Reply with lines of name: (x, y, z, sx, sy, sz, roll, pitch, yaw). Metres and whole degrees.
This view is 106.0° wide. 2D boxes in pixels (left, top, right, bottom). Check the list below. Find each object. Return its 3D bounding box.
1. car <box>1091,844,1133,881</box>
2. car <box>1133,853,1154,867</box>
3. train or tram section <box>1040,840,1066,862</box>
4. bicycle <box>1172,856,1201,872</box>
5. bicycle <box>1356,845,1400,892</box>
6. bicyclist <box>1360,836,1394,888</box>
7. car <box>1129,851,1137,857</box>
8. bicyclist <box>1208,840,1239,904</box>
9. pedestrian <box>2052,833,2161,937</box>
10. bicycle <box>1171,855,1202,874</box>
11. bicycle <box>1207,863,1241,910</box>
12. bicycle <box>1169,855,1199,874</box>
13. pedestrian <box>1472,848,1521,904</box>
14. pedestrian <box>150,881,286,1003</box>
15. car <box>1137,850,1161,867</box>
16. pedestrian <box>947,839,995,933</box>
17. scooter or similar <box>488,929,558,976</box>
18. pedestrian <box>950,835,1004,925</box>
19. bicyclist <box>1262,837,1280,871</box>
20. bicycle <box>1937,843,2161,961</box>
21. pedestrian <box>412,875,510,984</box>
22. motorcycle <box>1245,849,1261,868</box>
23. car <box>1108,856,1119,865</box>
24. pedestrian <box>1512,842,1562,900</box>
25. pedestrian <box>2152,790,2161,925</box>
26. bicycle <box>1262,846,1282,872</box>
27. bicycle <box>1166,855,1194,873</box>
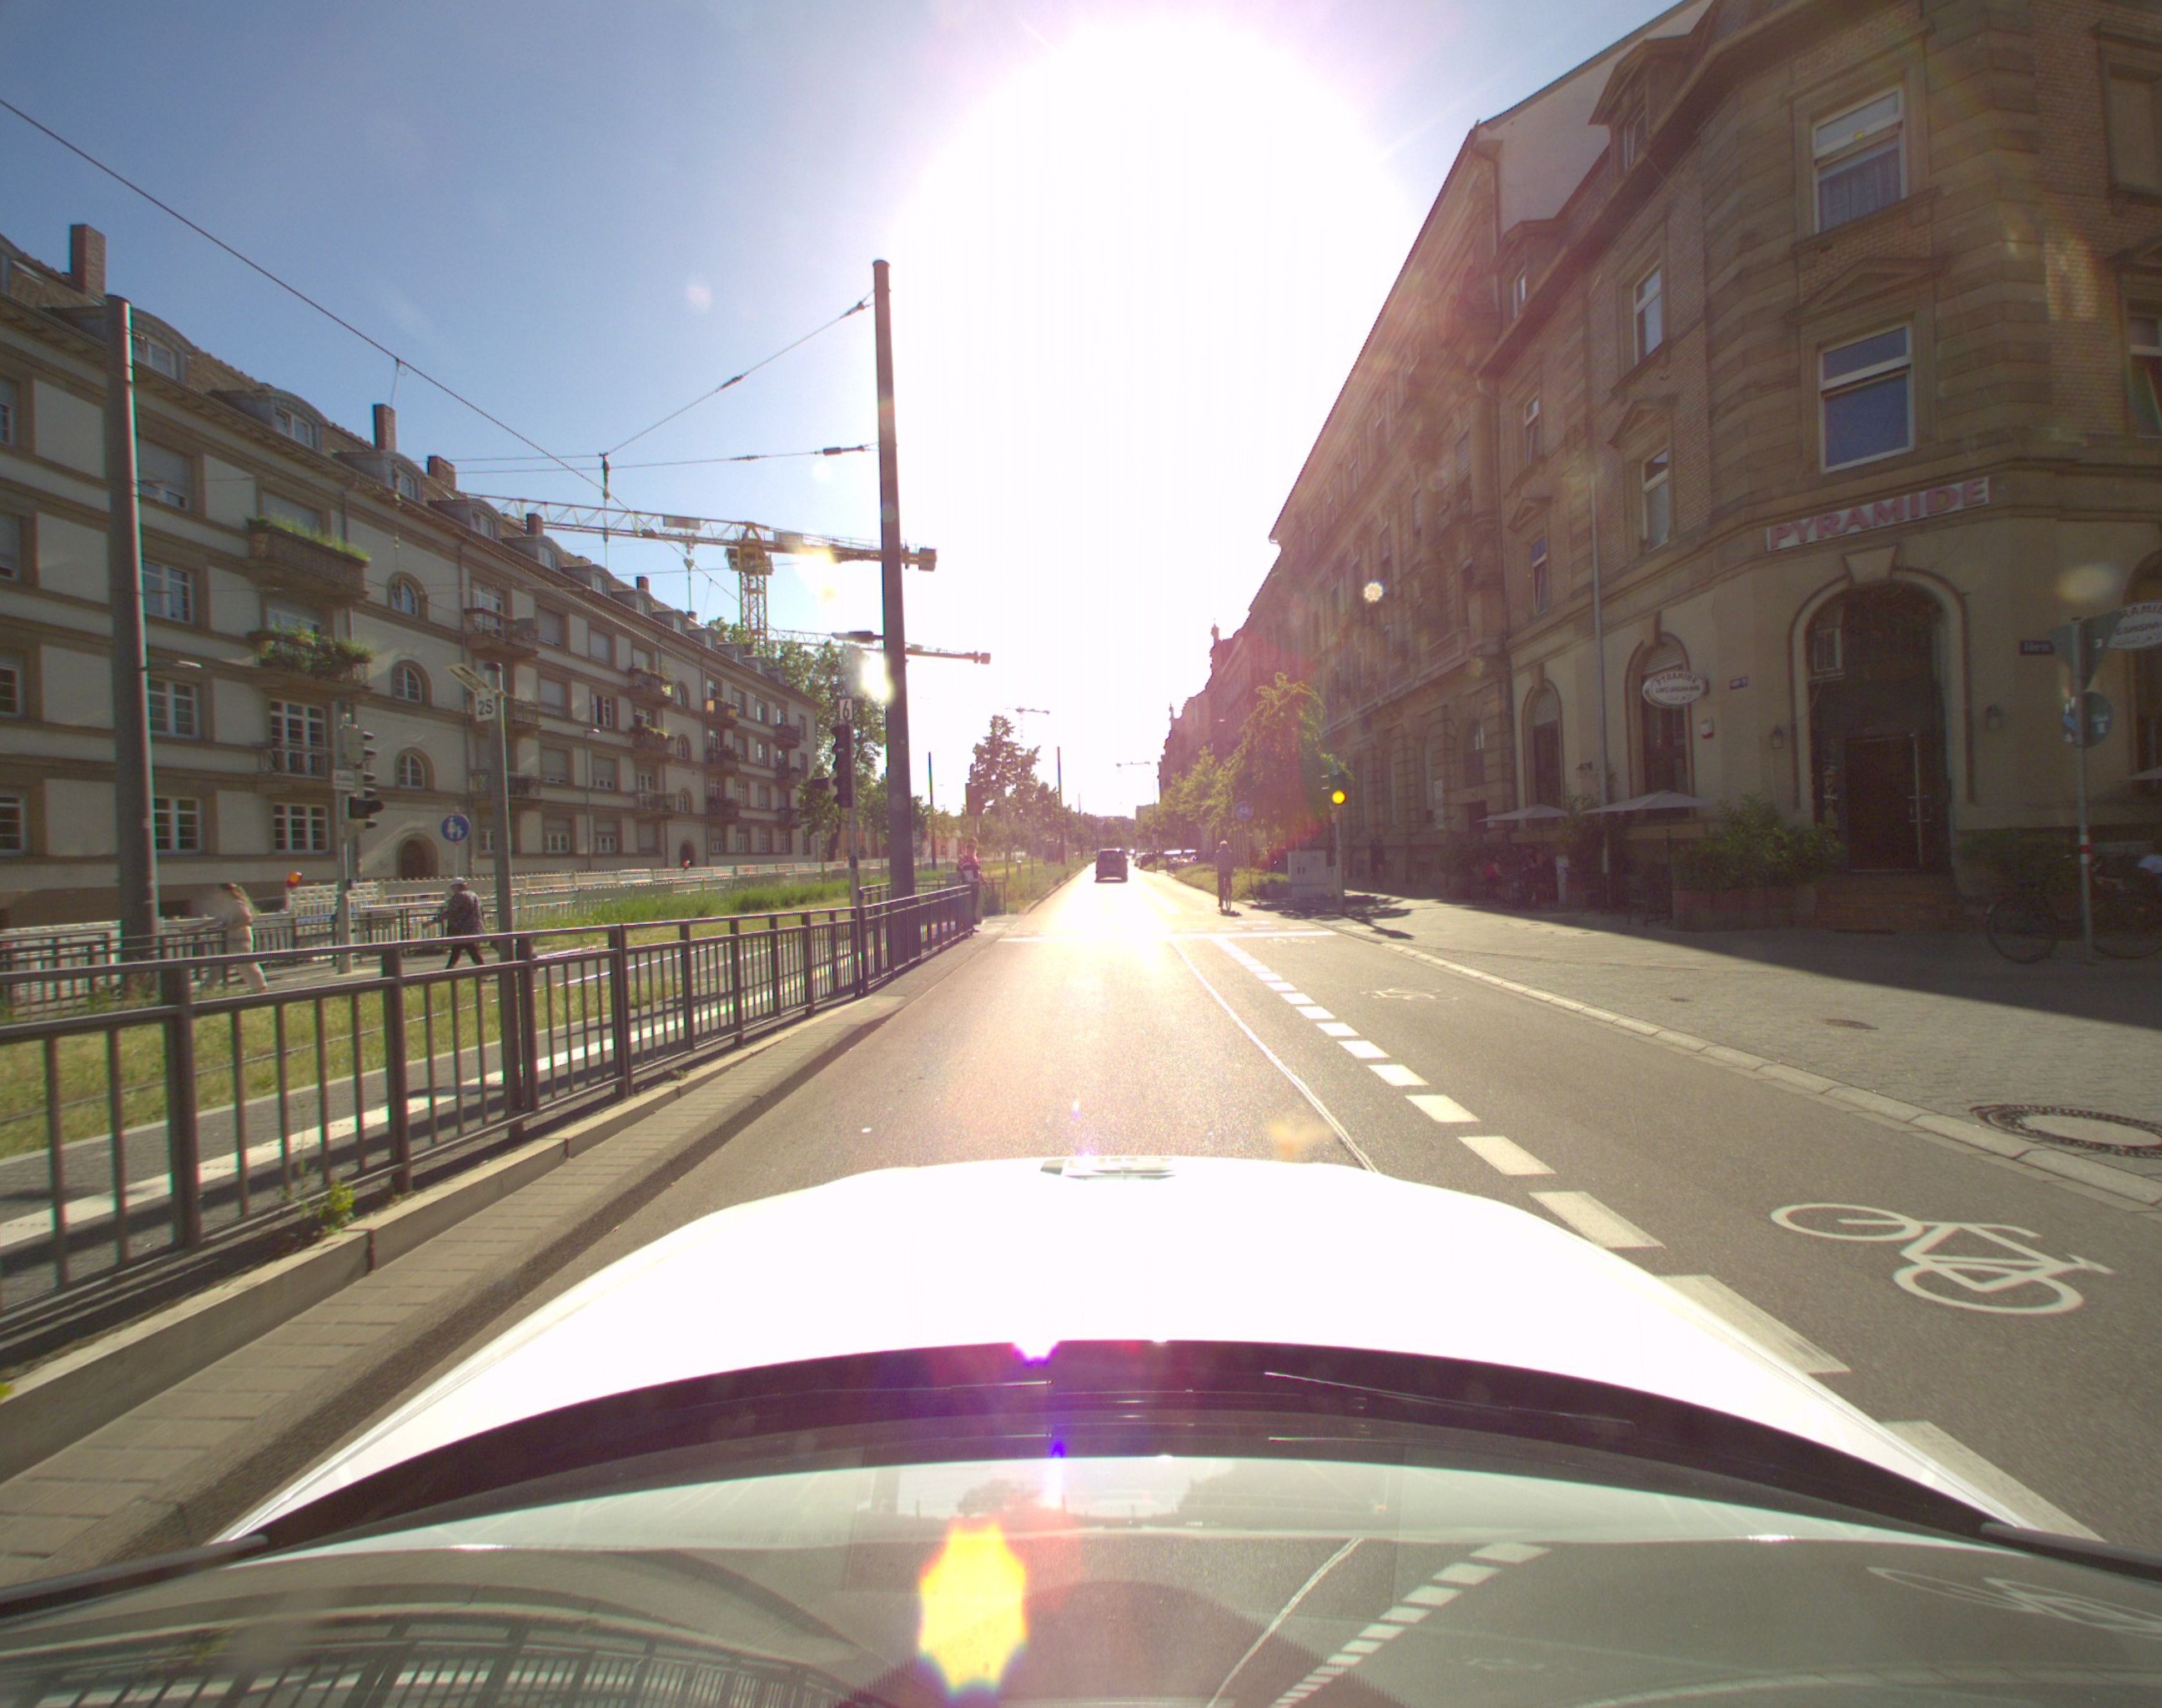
car: (1.757, 0.441, 46.868, 2.192, 1.926, 4.655, -3, 0, 1)
car: (6.956, 0.680, 91.078, 2.020, 1.499, 4.531, -3, 0, 1)
train or tram section: (-3.731, -0.309, 110.165, 2.745, 2.743, 9.868, -1, -1, 2)
bicycle: (6.966, 0.665, 53.854, 1.786, 1.030, 0.527, -2, 0, 1)
bicycle: (9.231, 0.429, 25.397, 0.613, 1.330, 1.901, -6, 0, 3)
bicyclist: (9.201, 0.232, 25.340, 0.658, 1.530, 0.801, -6, 0, 3)
car: (14.352, 0.069, 226.903, 2.020, 1.499, 4.332, -3, 0, 1)
bicyclist: (3.801, 0.458, 21.747, 0.682, 1.673, 0.922, 0, 0, 1)
pedestrian: (12.920, 0.352, 10.015, 0.848, 1.214, 0.932, -1, 0, -6)
bicycle: (6.591, 0.647, 50.887, 1.786, 1.030, 0.527, -6, 0, 1)
bicycle: (3.773, 0.842, 21.647, 0.599, 1.181, 1.869, 0, 0, 1)
bicycle: (6.625, 0.660, 52.261, 1.786, 1.030, 0.527, -6, 0, 1)
pedestrian: (9.296, 0.484, 18.252, 0.703, 1.178, 0.635, -4, 0, 1)
pedestrian: (-11.714, 1.159, 11.097, 0.864, 1.536, 0.906, -1, 0, -9)
car: (6.503, 0.388, 78.651, 2.020, 1.499, 4.655, -3, 0, 1)
pedestrian: (-2.175, 0.613, 16.251, 0.863, 1.788, 0.969, -1, 0, -5)
scooter or similar: (-8.483, 1.493, 12.396, 0.704, 0.651, 0.516, -1, 0, 3)
pedestrian: (-2.298, 0.564, 18.027, 1.073, 1.908, 0.652, -2, 0, -5)
bicyclist: (9.502, 0.011, 40.777, 0.664, 1.639, 0.961, -2, 0, 1)
bicycle: (10.855, 0.521, 9.092, 1.809, 1.171, 0.655, -2, 3, 5)
pedestrian: (-9.184, 1.094, 12.094, 0.809, 1.536, 0.798, -1, 0, 3)
motorcycle: (11.653, 0.282, 55.265, 0.697, 1.267, 1.982, -2, 0, 2)
car: (6.361, 1.276, 160.127, 1.986, 1.729, 4.001, -1, -1, 1)
pedestrian: (10.209, 0.382, 18.246, 0.703, 1.236, 0.635, -4, 0, 1)
pedestrian: (14.556, 0.036, 10.298, 0.905, 1.760, 0.866, -1, 0, -6)
bicycle: (9.553, 0.245, 40.794, 0.581, 1.222, 1.901, -2, 0, 2)
bicycle: (6.721, 0.688, 55.251, 1.786, 1.030, 0.527, -6, 0, 1)
